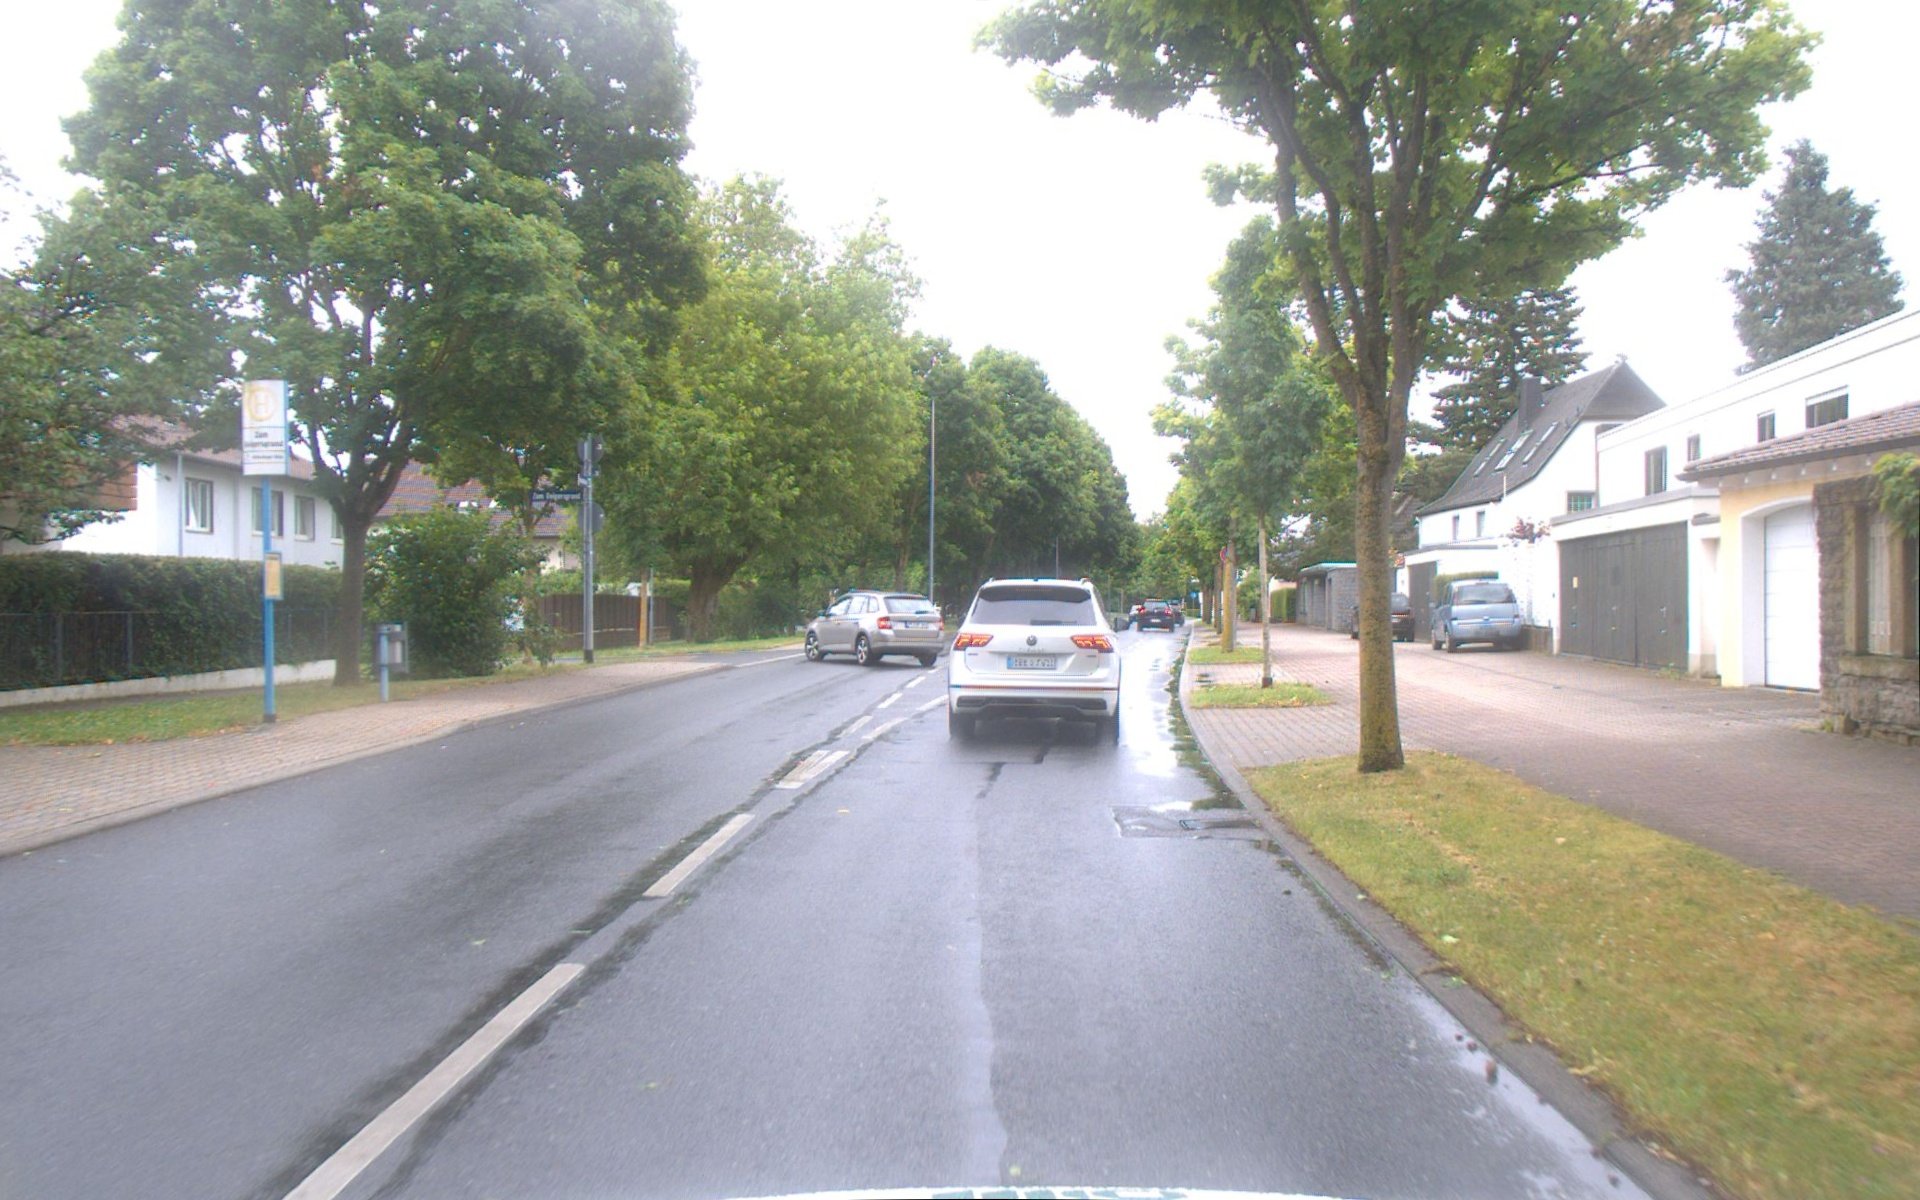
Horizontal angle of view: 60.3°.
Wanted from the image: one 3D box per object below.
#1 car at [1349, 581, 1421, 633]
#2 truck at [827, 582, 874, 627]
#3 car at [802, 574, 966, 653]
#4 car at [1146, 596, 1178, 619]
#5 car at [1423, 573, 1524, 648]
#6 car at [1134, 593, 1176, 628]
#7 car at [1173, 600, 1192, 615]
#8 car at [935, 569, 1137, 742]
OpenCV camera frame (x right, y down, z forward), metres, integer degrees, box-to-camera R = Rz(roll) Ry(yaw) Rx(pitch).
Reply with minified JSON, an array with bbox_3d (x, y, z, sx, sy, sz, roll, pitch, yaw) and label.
[{"bbox_3d":[13.151,0.213,51.389,1.733,1.524,4.548,-1,0,9],"label":"car"},{"bbox_3d":[-6.628,0.259,100.445,2.237,2.642,5.875,0,0,2],"label":"truck"},{"bbox_3d":[-1.650,0.296,34.388,1.821,1.513,3.960,-1,-1,-29],"label":"car"},{"bbox_3d":[13.771,0.505,112.694,1.802,1.513,4.001,-2,0,2],"label":"car"},{"bbox_3d":[12.025,0.235,38.967,1.706,1.639,4.003,-1,0,9],"label":"car"},{"bbox_3d":[9.235,0.482,78.169,1.801,1.513,4.003,2,0,8],"label":"car"},{"bbox_3d":[21.060,0.717,156.564,1.602,1.349,4.003,2,0,6],"label":"car"},{"bbox_3d":[0.920,0.534,18.292,1.954,1.660,4.002,1,0,5],"label":"car"}]
